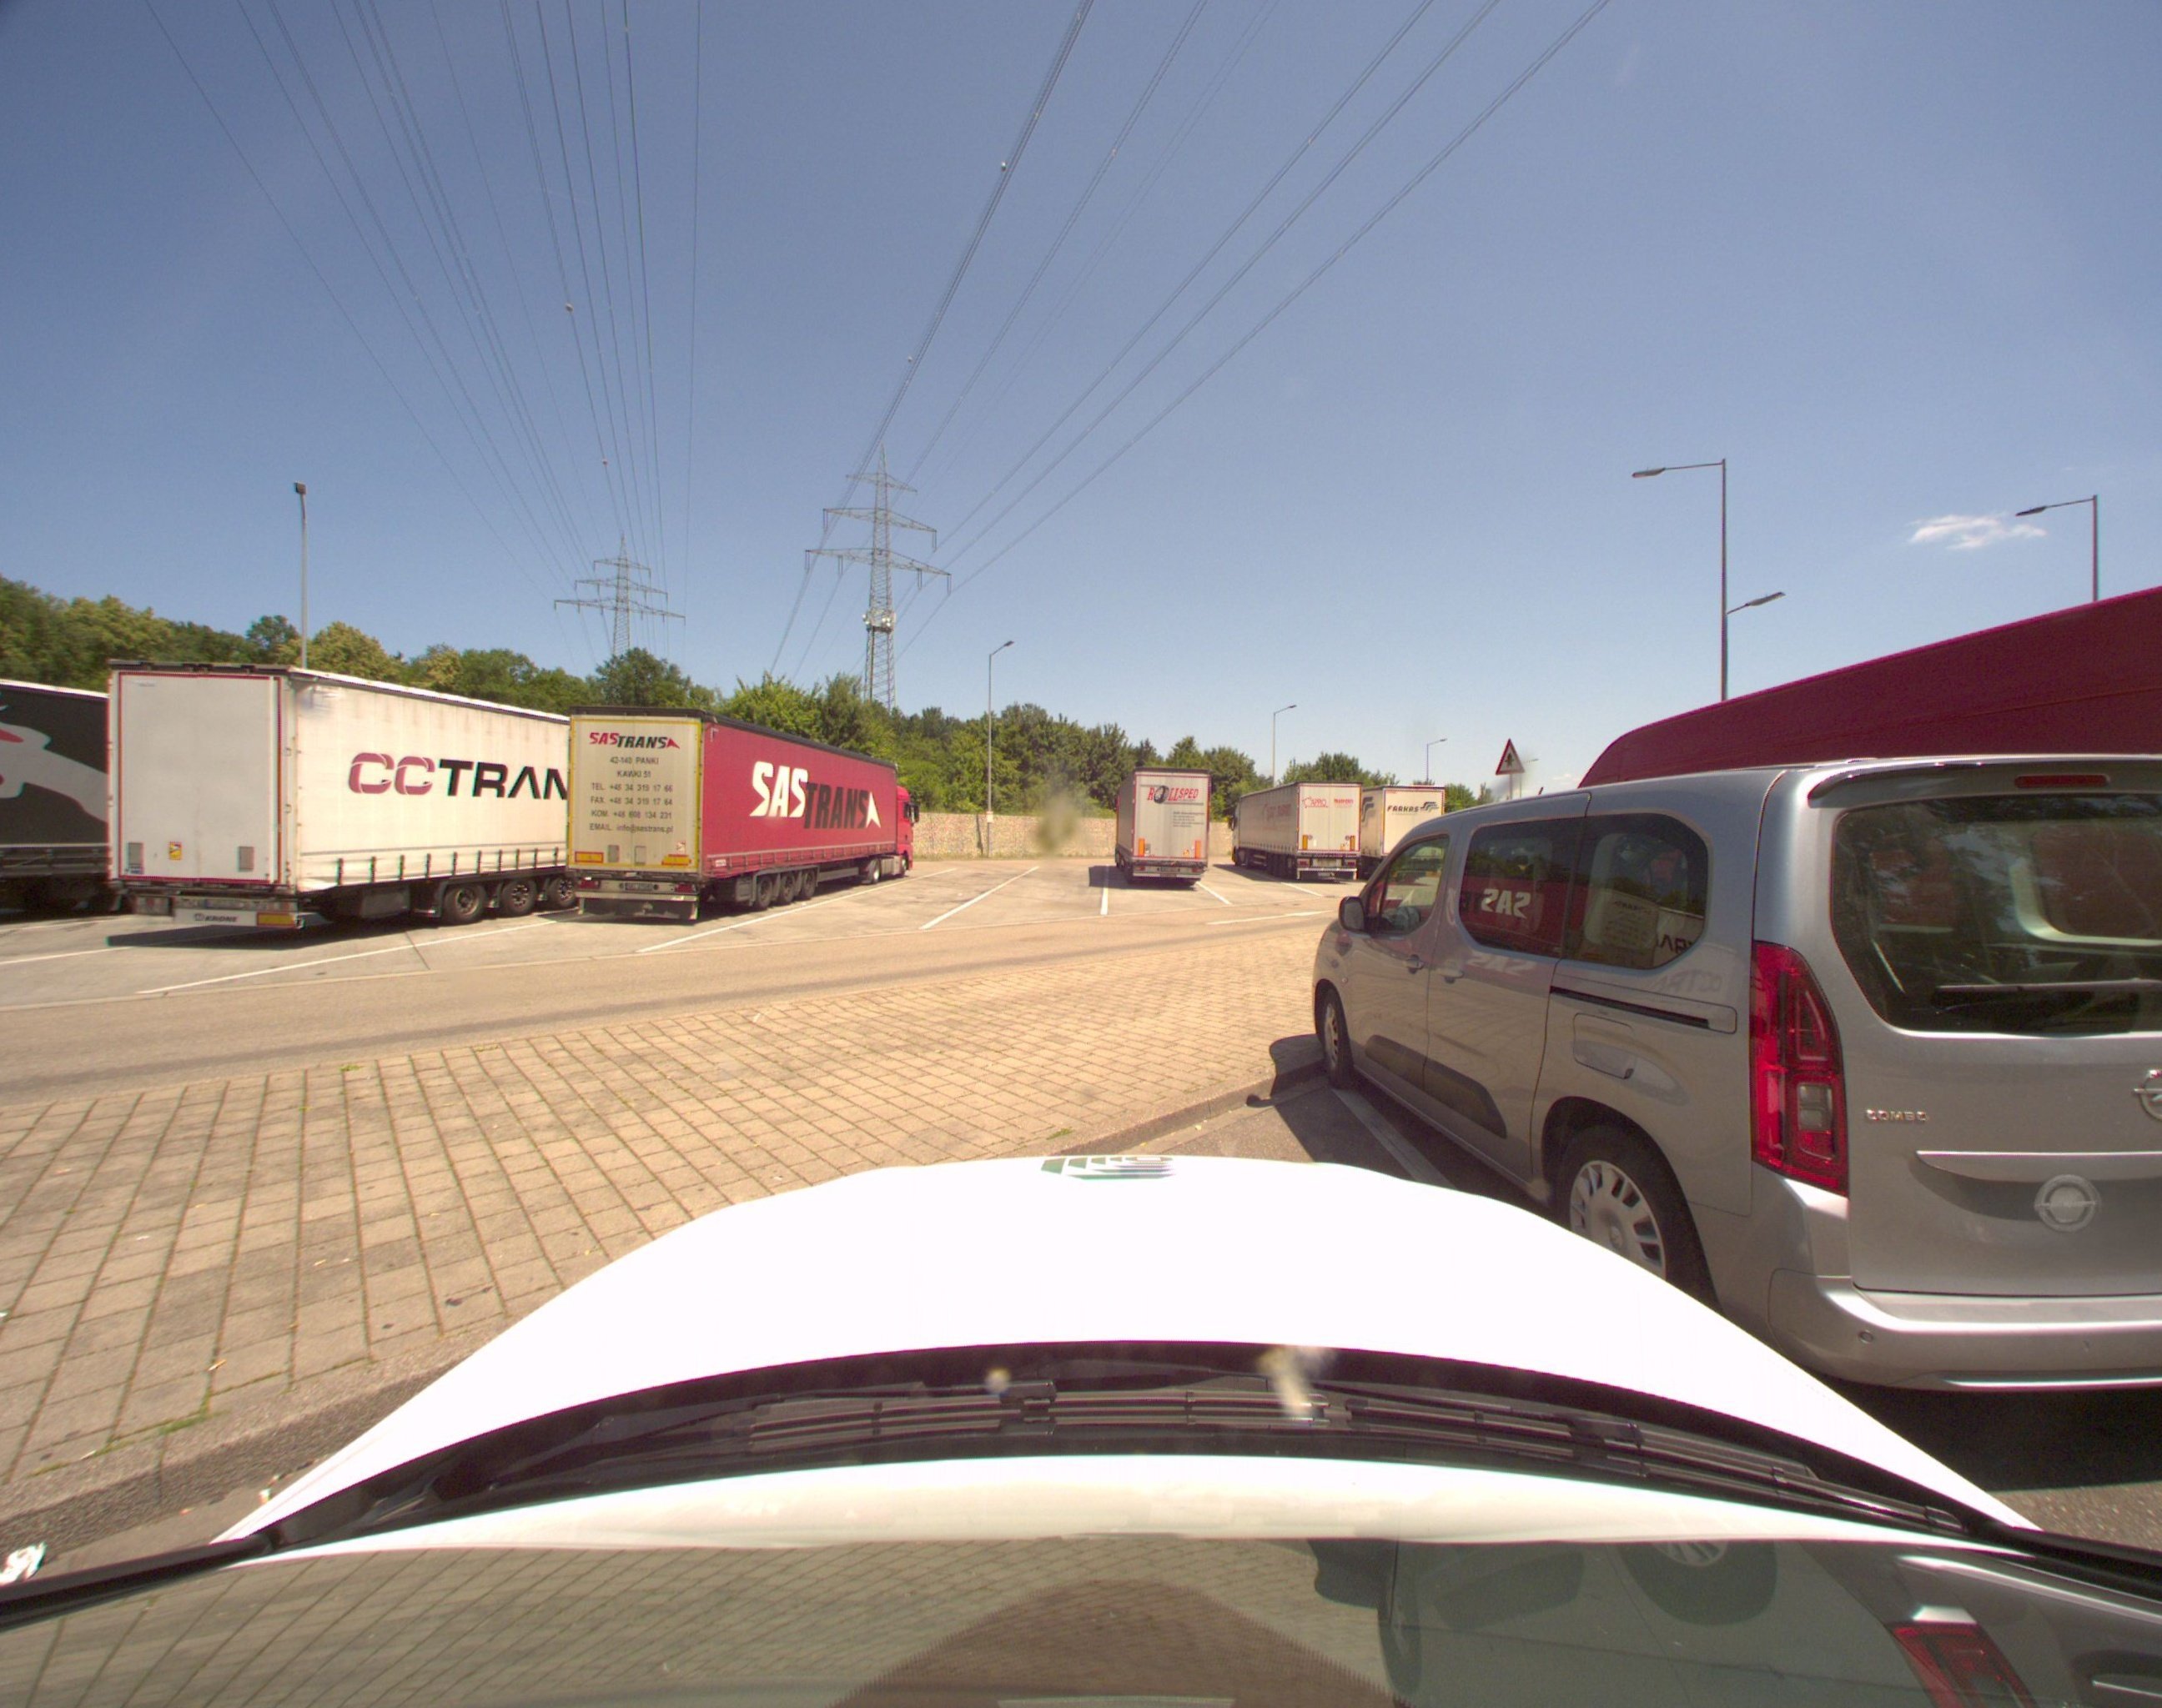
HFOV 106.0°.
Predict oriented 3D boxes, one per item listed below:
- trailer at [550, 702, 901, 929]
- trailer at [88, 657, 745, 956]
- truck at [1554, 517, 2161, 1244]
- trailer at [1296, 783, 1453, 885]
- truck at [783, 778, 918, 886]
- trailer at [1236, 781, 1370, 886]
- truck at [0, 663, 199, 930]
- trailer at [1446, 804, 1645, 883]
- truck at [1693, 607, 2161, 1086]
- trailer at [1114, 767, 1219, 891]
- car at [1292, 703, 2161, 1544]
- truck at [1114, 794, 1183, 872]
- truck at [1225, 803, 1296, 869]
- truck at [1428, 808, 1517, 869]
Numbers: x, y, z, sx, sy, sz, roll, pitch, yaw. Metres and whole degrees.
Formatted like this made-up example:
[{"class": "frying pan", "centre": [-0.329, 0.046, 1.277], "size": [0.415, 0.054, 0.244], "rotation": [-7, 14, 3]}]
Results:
[{"class": "trailer", "centre": [-8.066, -0.948, 21.922], "size": [2.781, 4.084, 14.139], "rotation": [1, 2, 2]}, {"class": "trailer", "centre": [-12.130, -0.911, 18.352], "size": [2.785, 4.084, 14.139], "rotation": [1, 2, 2]}, {"class": "truck", "centre": [5.134, 0.115, 4.924], "size": [1.968, 2.622, 5.314], "rotation": [0, -1, 7]}, {"class": "trailer", "centre": [13.599, -1.040, 39.625], "size": [2.801, 3.989, 14.403], "rotation": [1, 2, 2]}, {"class": "truck", "centre": [-7.819, -0.785, 28.492], "size": [2.840, 3.327, 5.903], "rotation": [1, 2, 2]}, {"class": "trailer", "centre": [9.925, -1.048, 38.662], "size": [2.801, 3.989, 14.403], "rotation": [1, 2, 2]}, {"class": "truck", "centre": [-18.542, -0.968, 13.800], "size": [2.726, 4.239, 3.997], "rotation": [1, 2, 2]}, {"class": "trailer", "centre": [24.096, -0.740, 43.772], "size": [2.801, 3.507, 14.403], "rotation": [1, 2, 2]}, {"class": "truck", "centre": [7.989, -0.041, 6.473], "size": [2.444, 2.912, 5.663], "rotation": [-1, -1, 7]}, {"class": "trailer", "centre": [3.060, -1.067, 33.713], "size": [3.122, 3.989, 14.401], "rotation": [1, 2, 1]}, {"class": "car", "centre": [2.488, 0.570, 3.901], "size": [1.864, 1.863, 4.176], "rotation": [1, 1, 0]}, {"class": "truck", "centre": [3.226, -1.082, 40.607], "size": [3.092, 3.566, 5.903], "rotation": [1, 2, 2]}, {"class": "truck", "centre": [10.187, -1.078, 46.763], "size": [2.852, 3.521, 5.903], "rotation": [1, 2, 2]}, {"class": "truck", "centre": [24.351, -1.011, 51.003], "size": [2.792, 3.521, 5.903], "rotation": [1, 2, 2]}]
